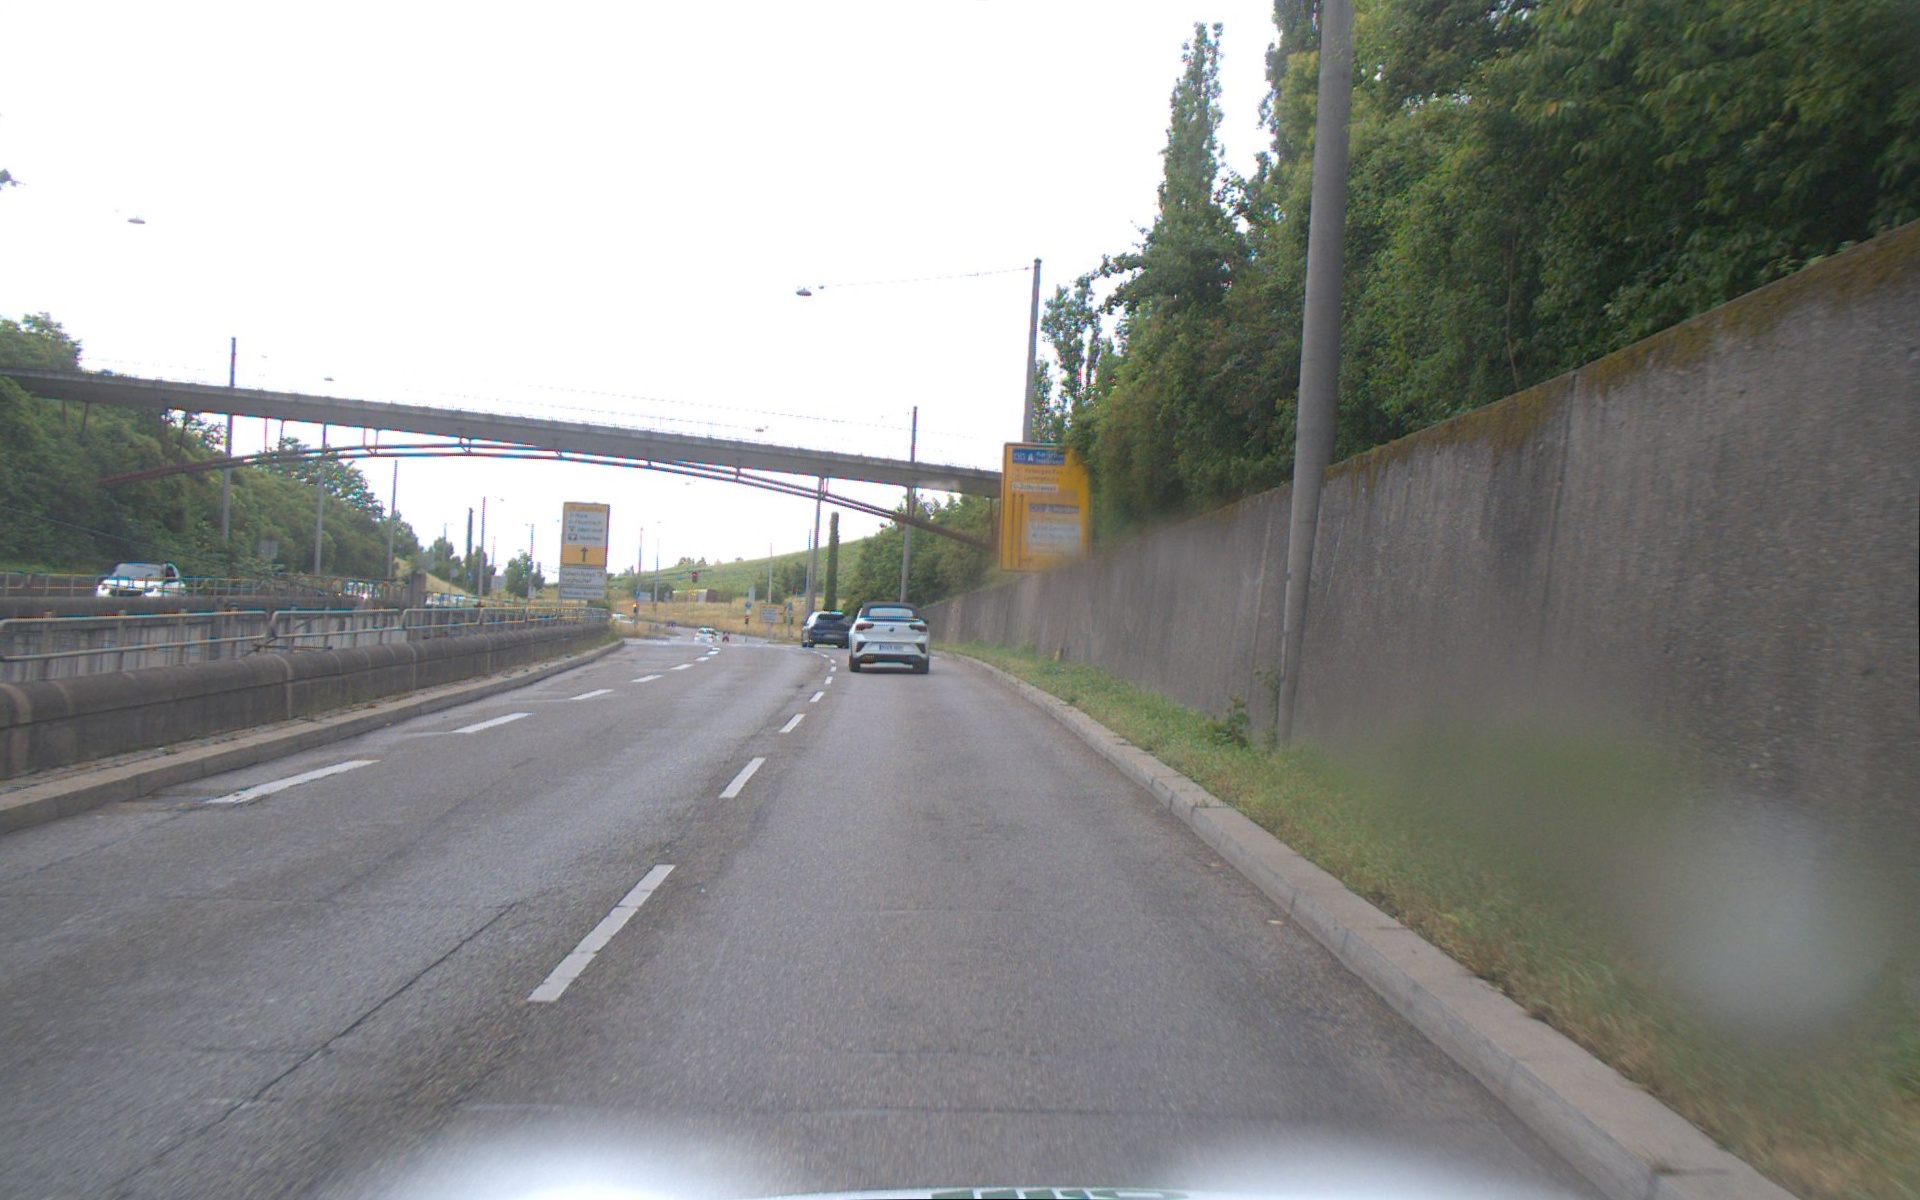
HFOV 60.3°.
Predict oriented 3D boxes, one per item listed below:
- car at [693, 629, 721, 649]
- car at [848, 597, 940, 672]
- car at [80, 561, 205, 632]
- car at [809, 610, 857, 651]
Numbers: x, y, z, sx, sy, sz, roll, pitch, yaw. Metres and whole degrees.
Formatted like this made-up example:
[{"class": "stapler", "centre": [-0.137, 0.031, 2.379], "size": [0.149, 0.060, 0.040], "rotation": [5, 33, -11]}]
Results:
[{"class": "car", "centre": [-22.527, 3.490, 147.448], "size": [1.739, 1.545, 3.724], "rotation": [5, -3, 0]}, {"class": "car", "centre": [-1.567, 0.740, 37.713], "size": [1.956, 1.606, 4.122], "rotation": [0, 0, -4]}, {"class": "car", "centre": [-21.861, -0.075, 44.405], "size": [1.926, 1.780, 4.130], "rotation": [0, 0, -10]}, {"class": "car", "centre": [-5.217, 1.234, 68.310], "size": [1.888, 1.627, 4.058], "rotation": [0, 0, -4]}]
